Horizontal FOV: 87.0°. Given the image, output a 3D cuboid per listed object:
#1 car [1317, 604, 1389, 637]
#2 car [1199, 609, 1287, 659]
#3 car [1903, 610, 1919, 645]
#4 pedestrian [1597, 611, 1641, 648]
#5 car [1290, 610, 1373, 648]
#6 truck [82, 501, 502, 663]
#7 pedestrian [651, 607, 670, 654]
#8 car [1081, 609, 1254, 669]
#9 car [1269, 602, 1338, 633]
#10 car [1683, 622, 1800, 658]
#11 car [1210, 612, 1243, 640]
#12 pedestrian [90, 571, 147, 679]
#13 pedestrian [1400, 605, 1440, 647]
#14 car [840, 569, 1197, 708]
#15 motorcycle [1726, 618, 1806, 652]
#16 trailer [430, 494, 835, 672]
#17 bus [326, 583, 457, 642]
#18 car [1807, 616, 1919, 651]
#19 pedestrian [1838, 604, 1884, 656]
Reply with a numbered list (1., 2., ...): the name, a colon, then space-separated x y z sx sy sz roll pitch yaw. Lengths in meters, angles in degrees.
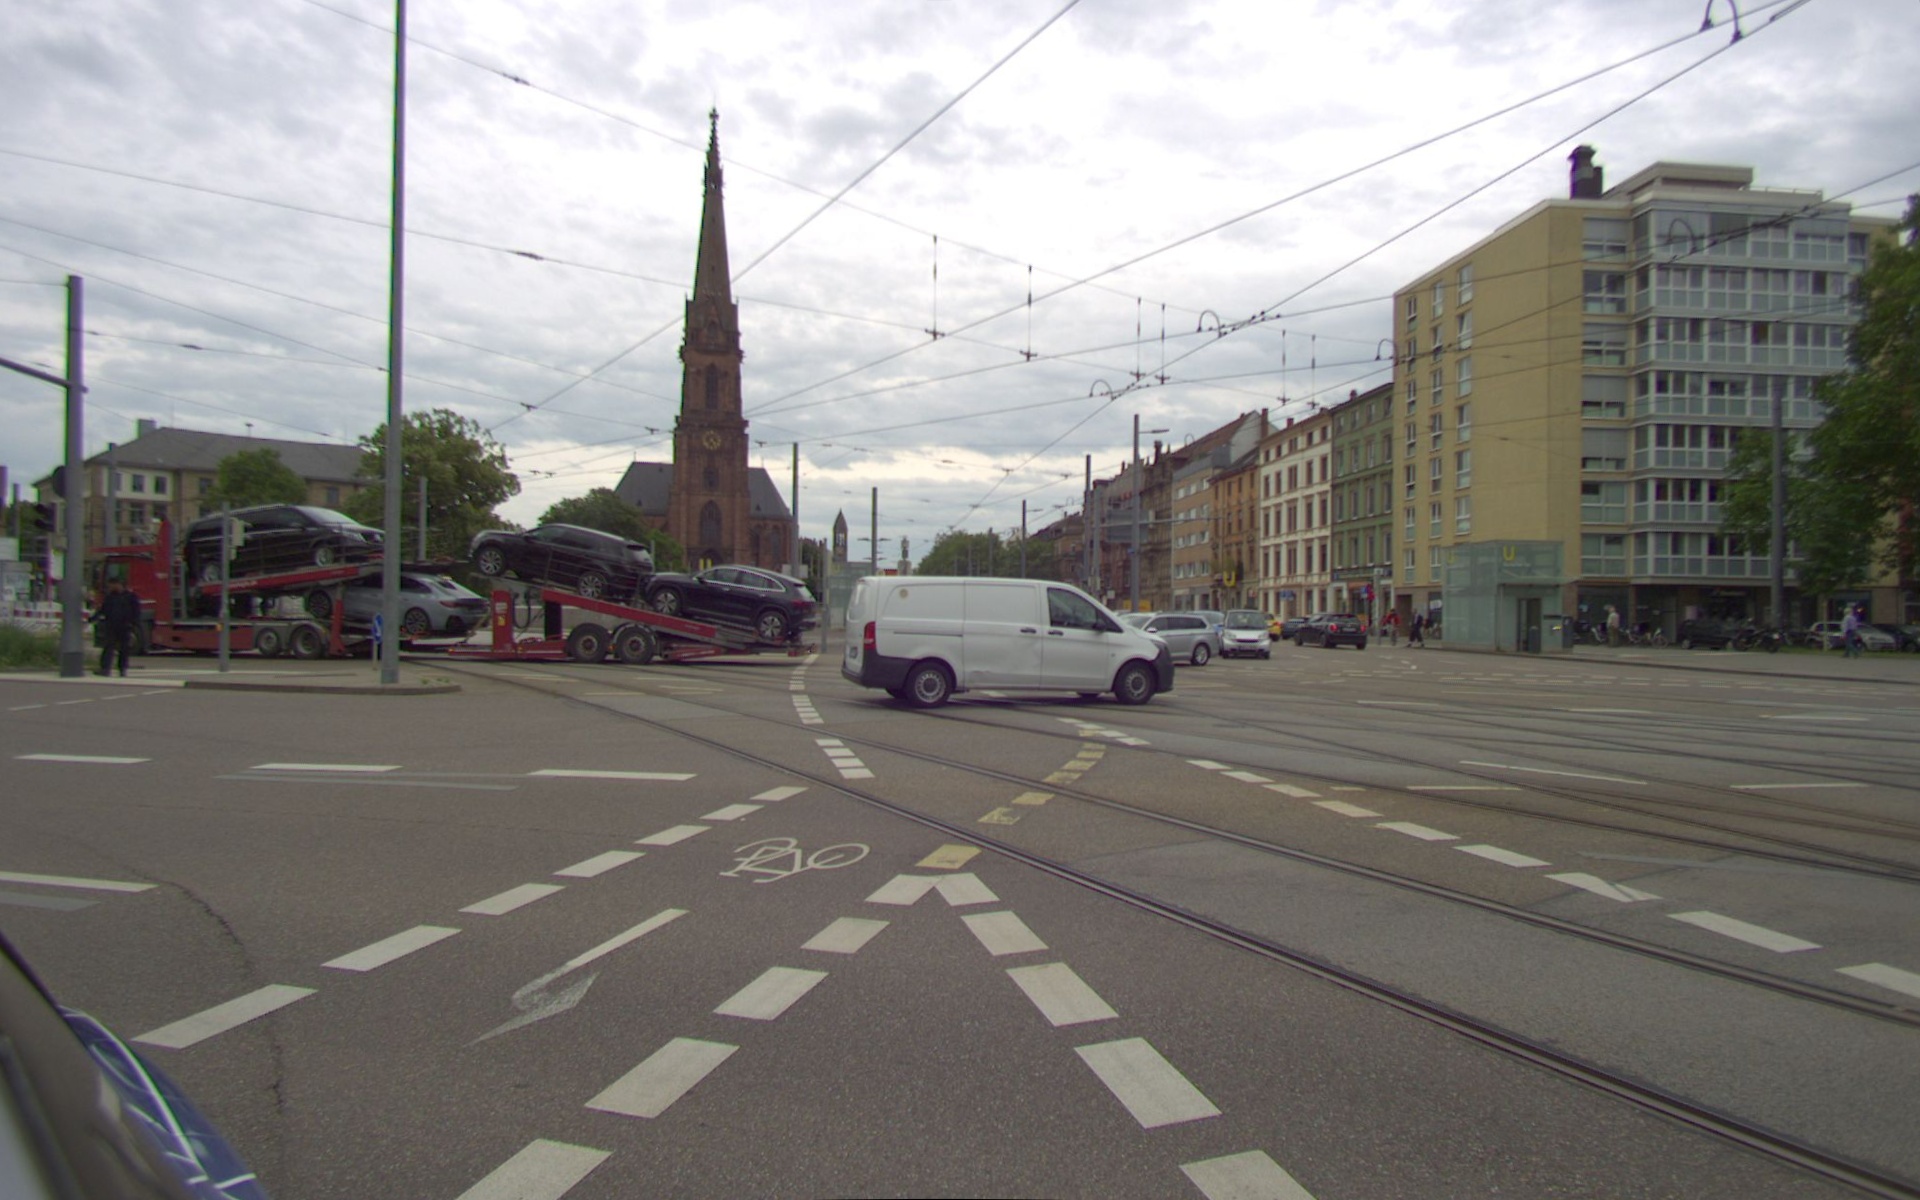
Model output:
1. car: 22.024 1.129 56.698 3.936 1.768 2.085 0 0 -39
2. car: 9.124 1.062 32.946 1.974 1.504 3.618 0 0 3
3. car: 48.042 1.367 48.316 1.968 1.719 4.008 0 0 -9
4. pedestrian: 29.751 1.332 45.678 1.024 1.652 1.334 0 -1 -9
5. car: 14.966 1.143 41.016 1.749 1.479 4.002 0 -1 -2
6. truck: -17.878 -0.487 27.228 10.344 3.949 3.005 0 0 11
7. pedestrian: -10.463 1.060 35.387 0.475 1.623 0.424 0 -1 10
8. car: 5.687 1.008 27.544 4.601 1.504 2.005 1 -1 -35
9. car: 20.238 0.992 59.552 3.936 1.768 2.085 0 0 -39
10. car: 36.173 1.826 46.967 1.968 1.564 4.007 0 -1 -9
11. car: 15.644 1.502 59.510 1.806 1.506 3.983 0 1 14
12. pedestrian: -15.658 0.457 18.841 0.769 1.958 0.983 1 -1 -40
13. pedestrian: 19.954 1.134 43.917 1.161 1.798 1.043 0 -1 -9
14. car: 0.829 0.524 15.292 5.003 1.896 1.929 0 1 -15
15. motorcycle: 30.559 1.318 38.419 0.851 1.187 2.550 0 0 -5
16. trailer: -8.089 -0.427 25.282 9.455 4.003 2.985 0 0 12
17. bus: -32.819 0.613 58.096 12.017 3.100 2.825 1 0 42
18. car: 43.351 1.570 48.404 1.968 1.564 4.007 0 -1 -9
19. pedestrian: 30.509 1.000 34.279 0.695 1.732 0.918 0 0 -17
